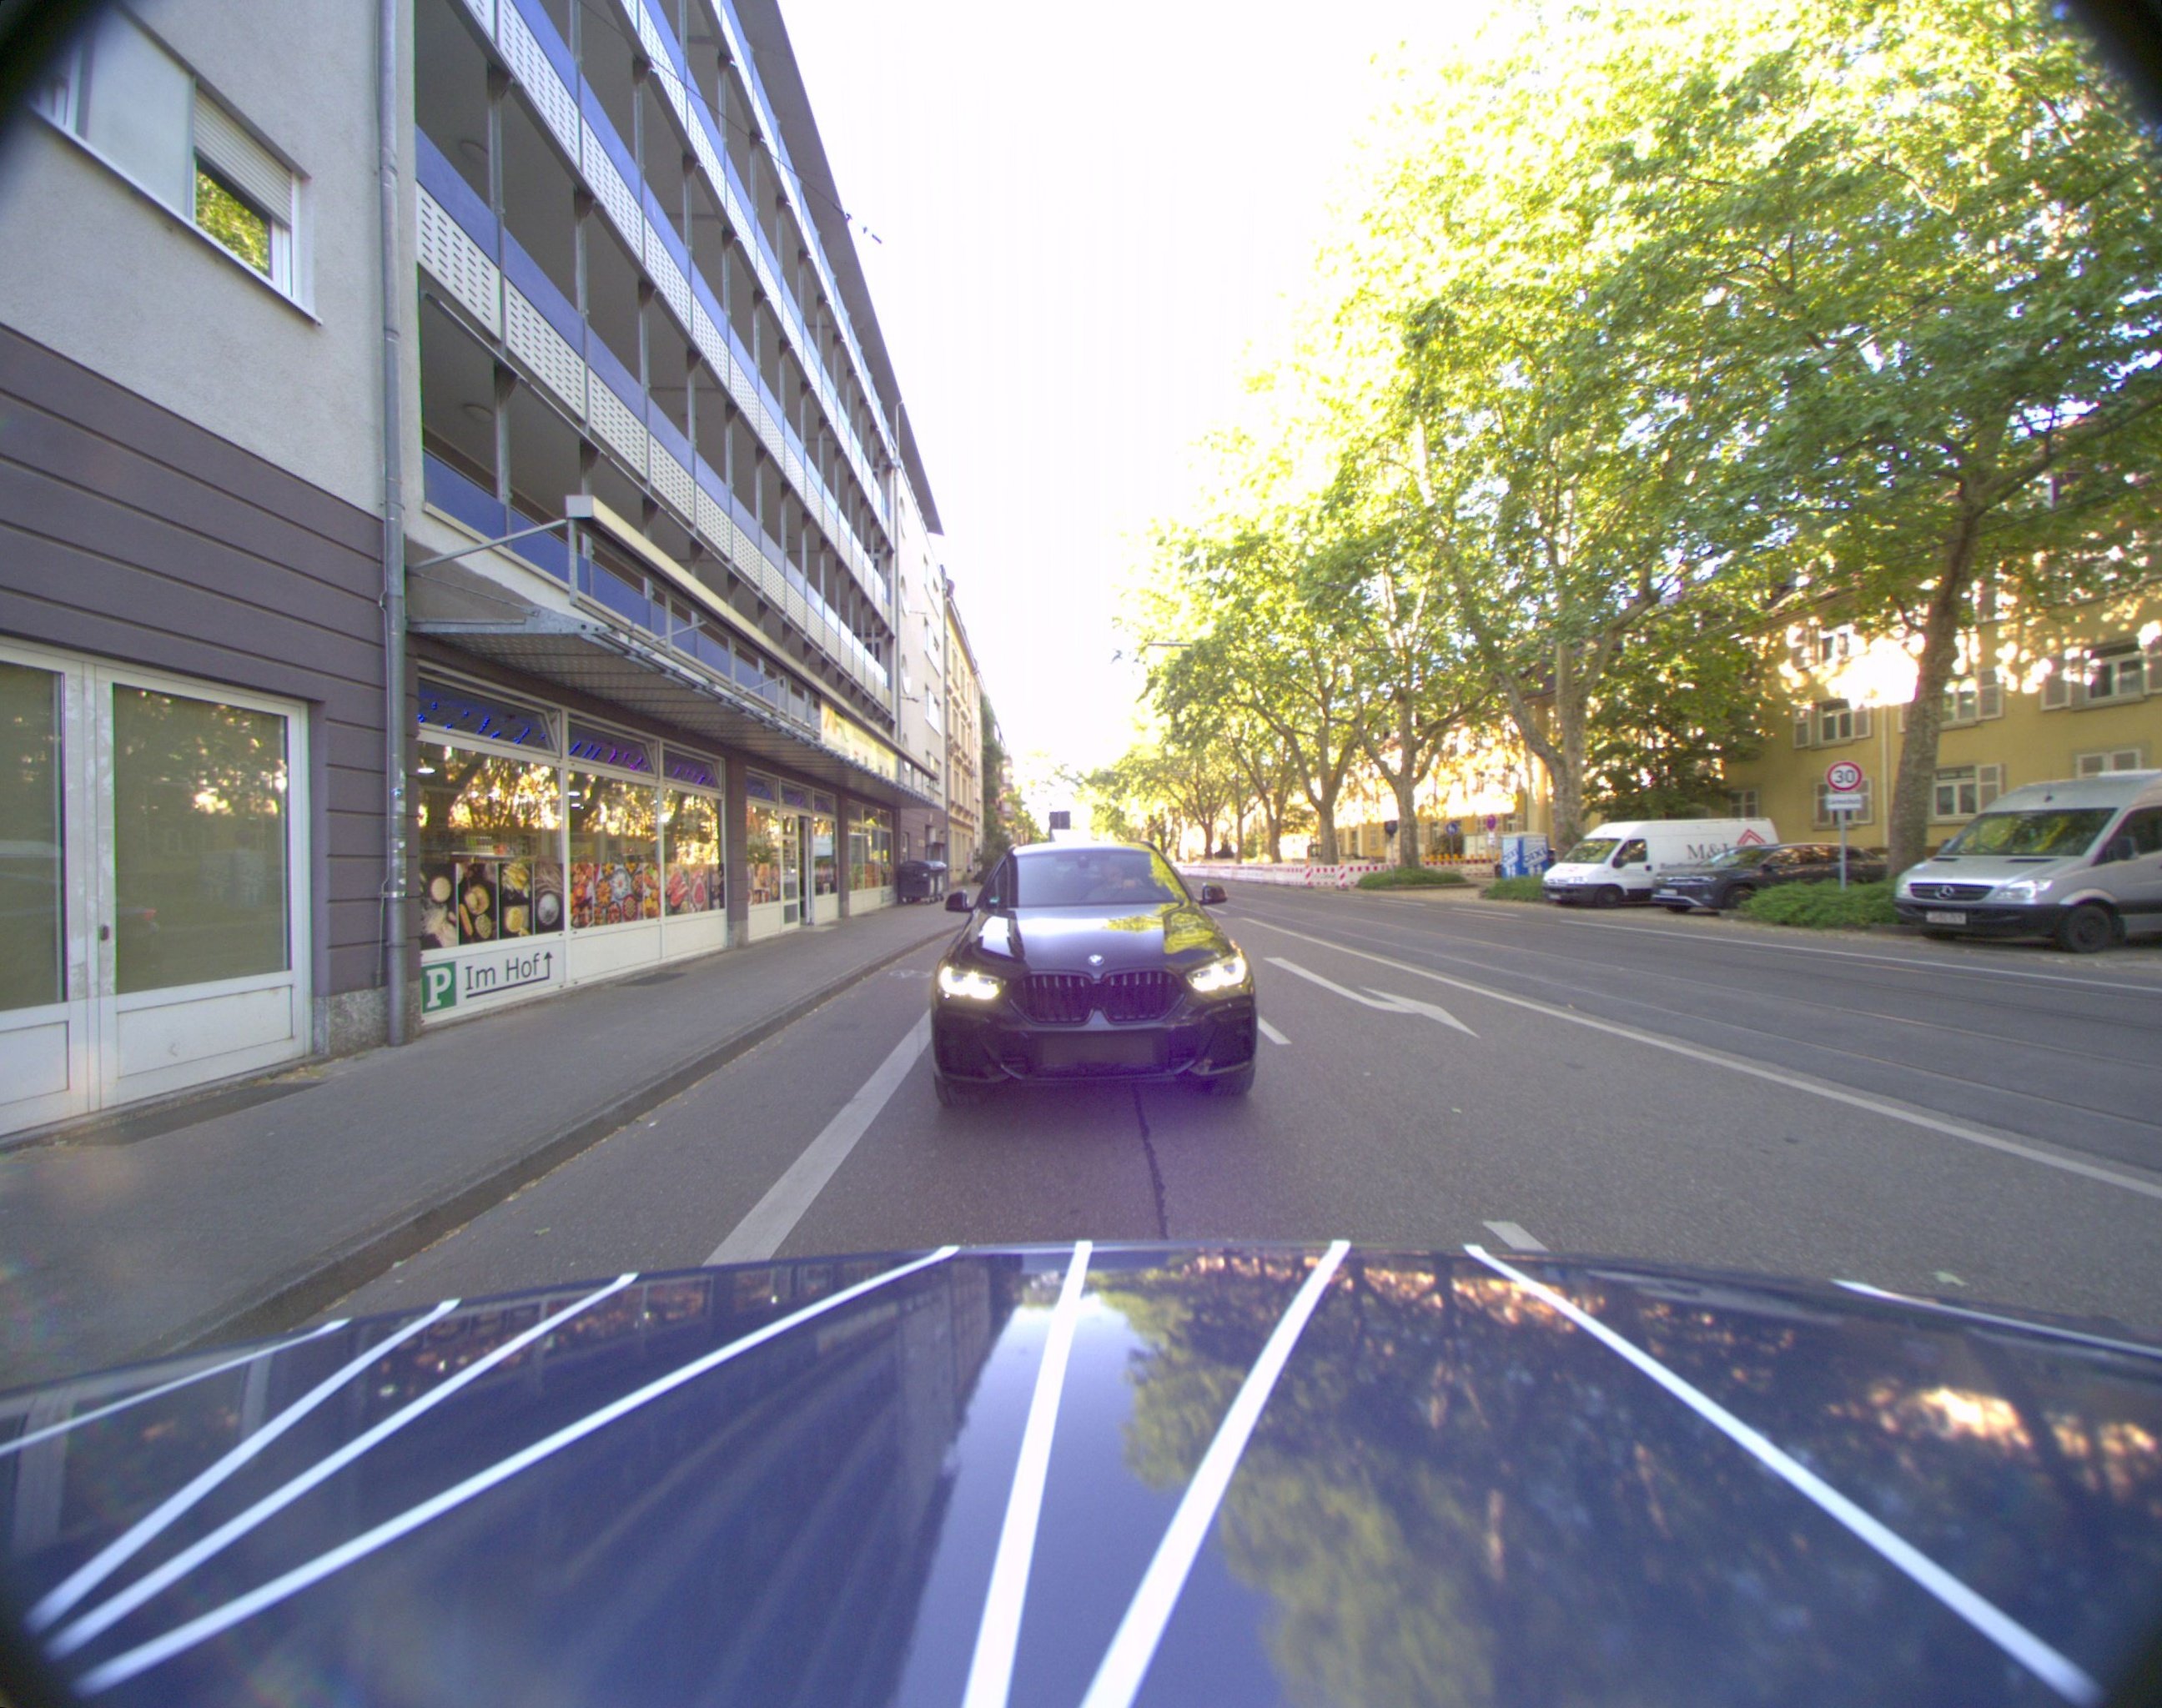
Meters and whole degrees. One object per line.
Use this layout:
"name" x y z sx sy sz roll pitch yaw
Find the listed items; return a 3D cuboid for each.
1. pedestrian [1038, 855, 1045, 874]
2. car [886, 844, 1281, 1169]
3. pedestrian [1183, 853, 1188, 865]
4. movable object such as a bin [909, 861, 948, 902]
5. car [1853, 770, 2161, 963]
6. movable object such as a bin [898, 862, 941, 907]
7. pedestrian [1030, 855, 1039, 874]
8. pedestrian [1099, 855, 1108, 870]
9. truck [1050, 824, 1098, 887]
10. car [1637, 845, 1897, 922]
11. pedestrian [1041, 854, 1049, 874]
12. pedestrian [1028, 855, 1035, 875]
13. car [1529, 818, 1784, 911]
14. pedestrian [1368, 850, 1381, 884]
"pedestrian" -3.813 1.000 72.830 0.600 1.875 0.581 -2 1 -1
"car" 0.041 0.794 6.046 1.998 1.643 4.295 -1 0 1
"pedestrian" 16.224 0.781 118.023 0.732 1.875 0.665 -2 1 5
"movable object such as a bin" -5.335 0.952 26.690 1.158 1.418 0.939 -1 0 1
"car" 15.983 0.127 11.865 5.666 2.666 2.223 -2 0 -2
"movable object such as a bin" -5.219 0.978 24.652 1.158 1.418 0.939 -1 0 1
"pedestrian" -4.595 1.024 74.947 0.733 1.875 0.664 -2 1 -1
"pedestrian" 2.801 1.079 95.414 0.743 1.875 0.731 -3 1 -36
"truck" -0.319 0.118 42.127 2.394 3.170 6.587 -1 0 1
"car" 16.077 0.656 17.947 4.627 1.642 1.774 -1 0 -2
"pedestrian" -3.570 0.979 75.052 0.733 1.875 0.664 -2 1 -1
"pedestrian" -4.745 1.032 73.144 0.600 1.875 0.581 -2 1 -1
"car" 15.843 0.288 21.154 5.404 2.362 2.223 -1 0 0
"pedestrian" 15.327 0.669 39.709 0.582 1.735 0.653 -2 1 18
